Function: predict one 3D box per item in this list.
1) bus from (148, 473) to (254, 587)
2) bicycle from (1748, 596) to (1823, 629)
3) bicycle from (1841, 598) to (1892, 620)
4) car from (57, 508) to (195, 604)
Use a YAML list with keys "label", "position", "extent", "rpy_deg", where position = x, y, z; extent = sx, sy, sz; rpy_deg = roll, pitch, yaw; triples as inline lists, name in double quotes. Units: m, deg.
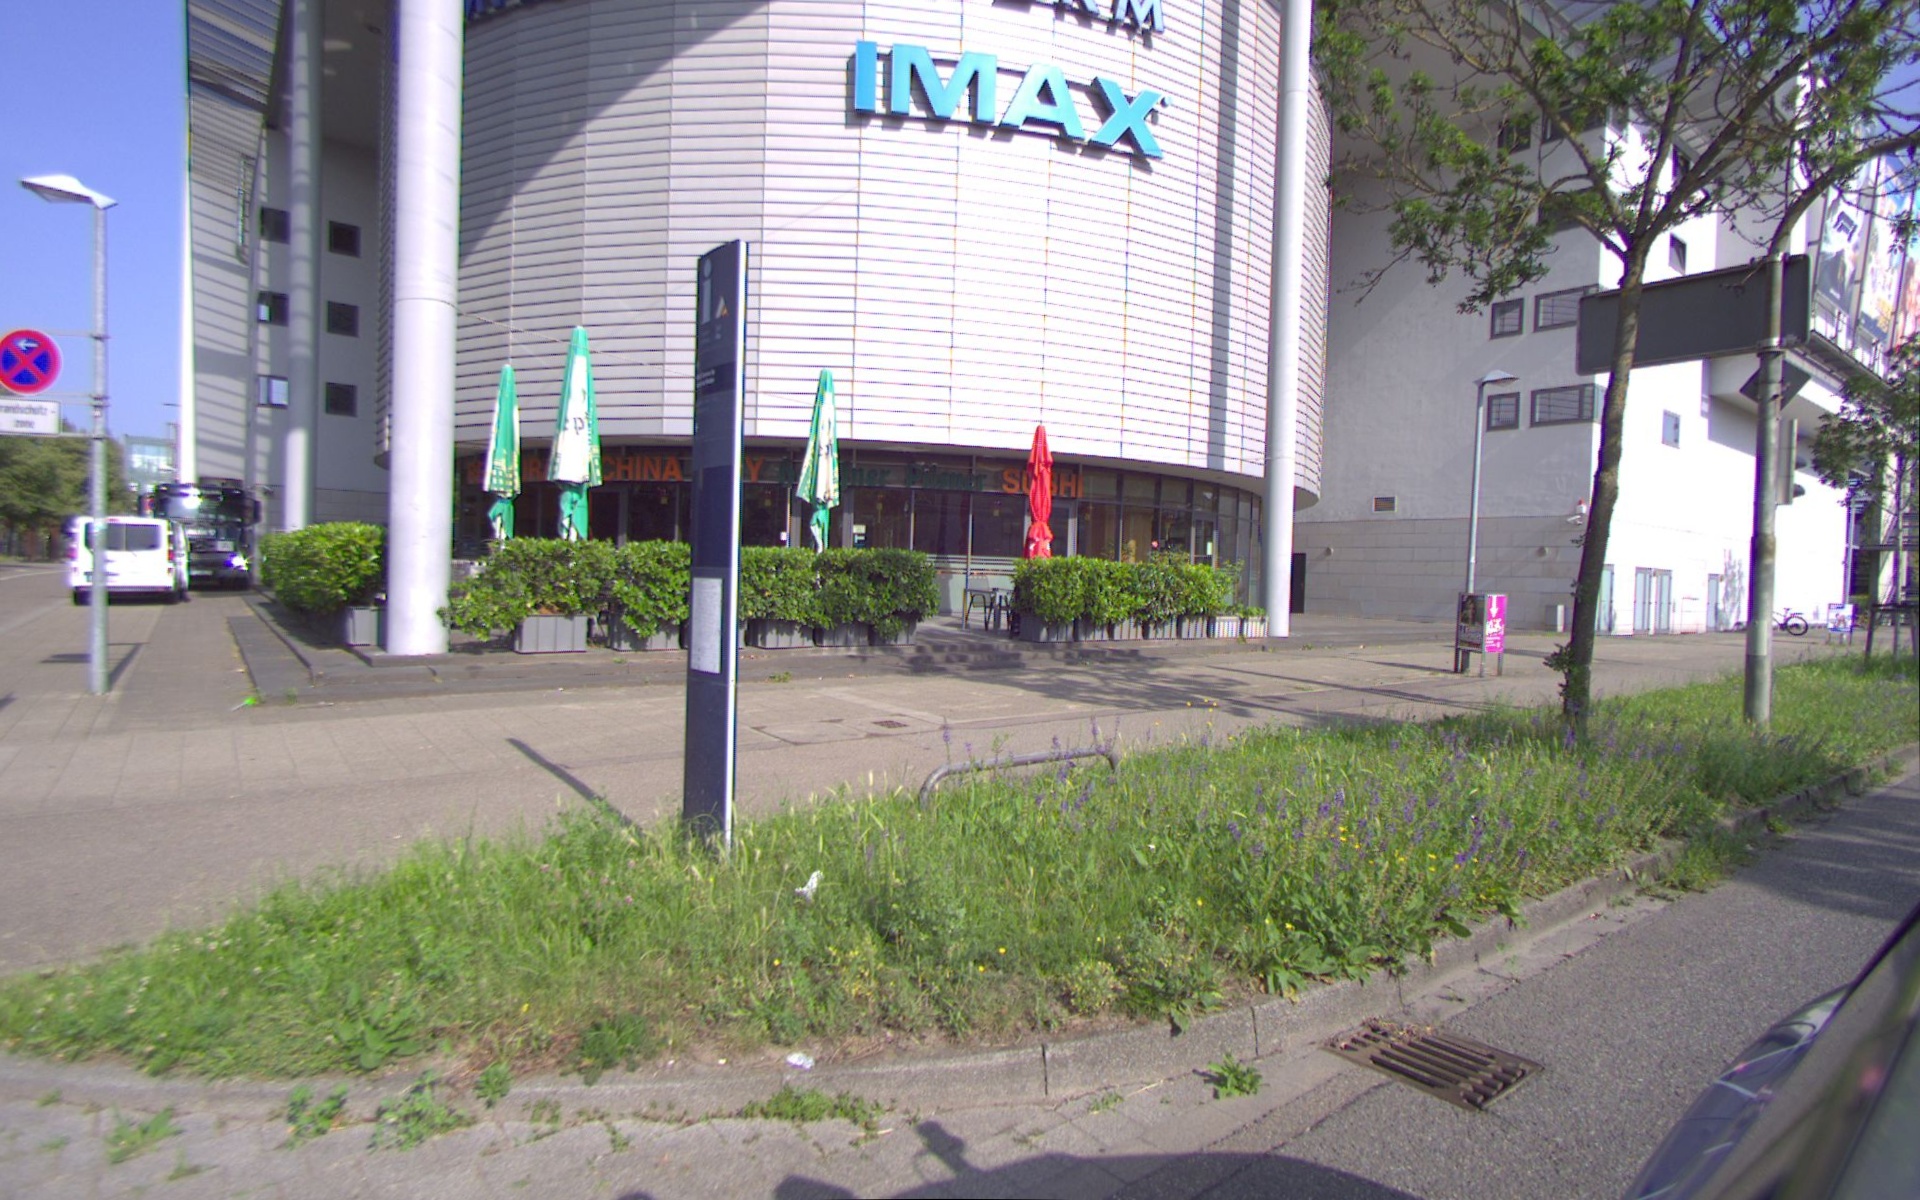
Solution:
- label: "bus"
  position: [-24.380, -2.141, 32.425]
  extent: [2.442, 3.187, 7.841]
  rpy_deg: [0, 2, -38]
- label: "bicycle"
  position: [30.268, 0.449, 37.146]
  extent: [0.662, 1.116, 2.016]
  rpy_deg: [1, 1, -33]
- label: "bicycle"
  position: [41.390, 0.403, 46.204]
  extent: [0.473, 0.926, 1.662]
  rpy_deg: [1, 2, -37]
- label: "car"
  position: [-19.661, -1.023, 24.068]
  extent: [2.030, 2.038, 4.900]
  rpy_deg: [0, 2, -34]
